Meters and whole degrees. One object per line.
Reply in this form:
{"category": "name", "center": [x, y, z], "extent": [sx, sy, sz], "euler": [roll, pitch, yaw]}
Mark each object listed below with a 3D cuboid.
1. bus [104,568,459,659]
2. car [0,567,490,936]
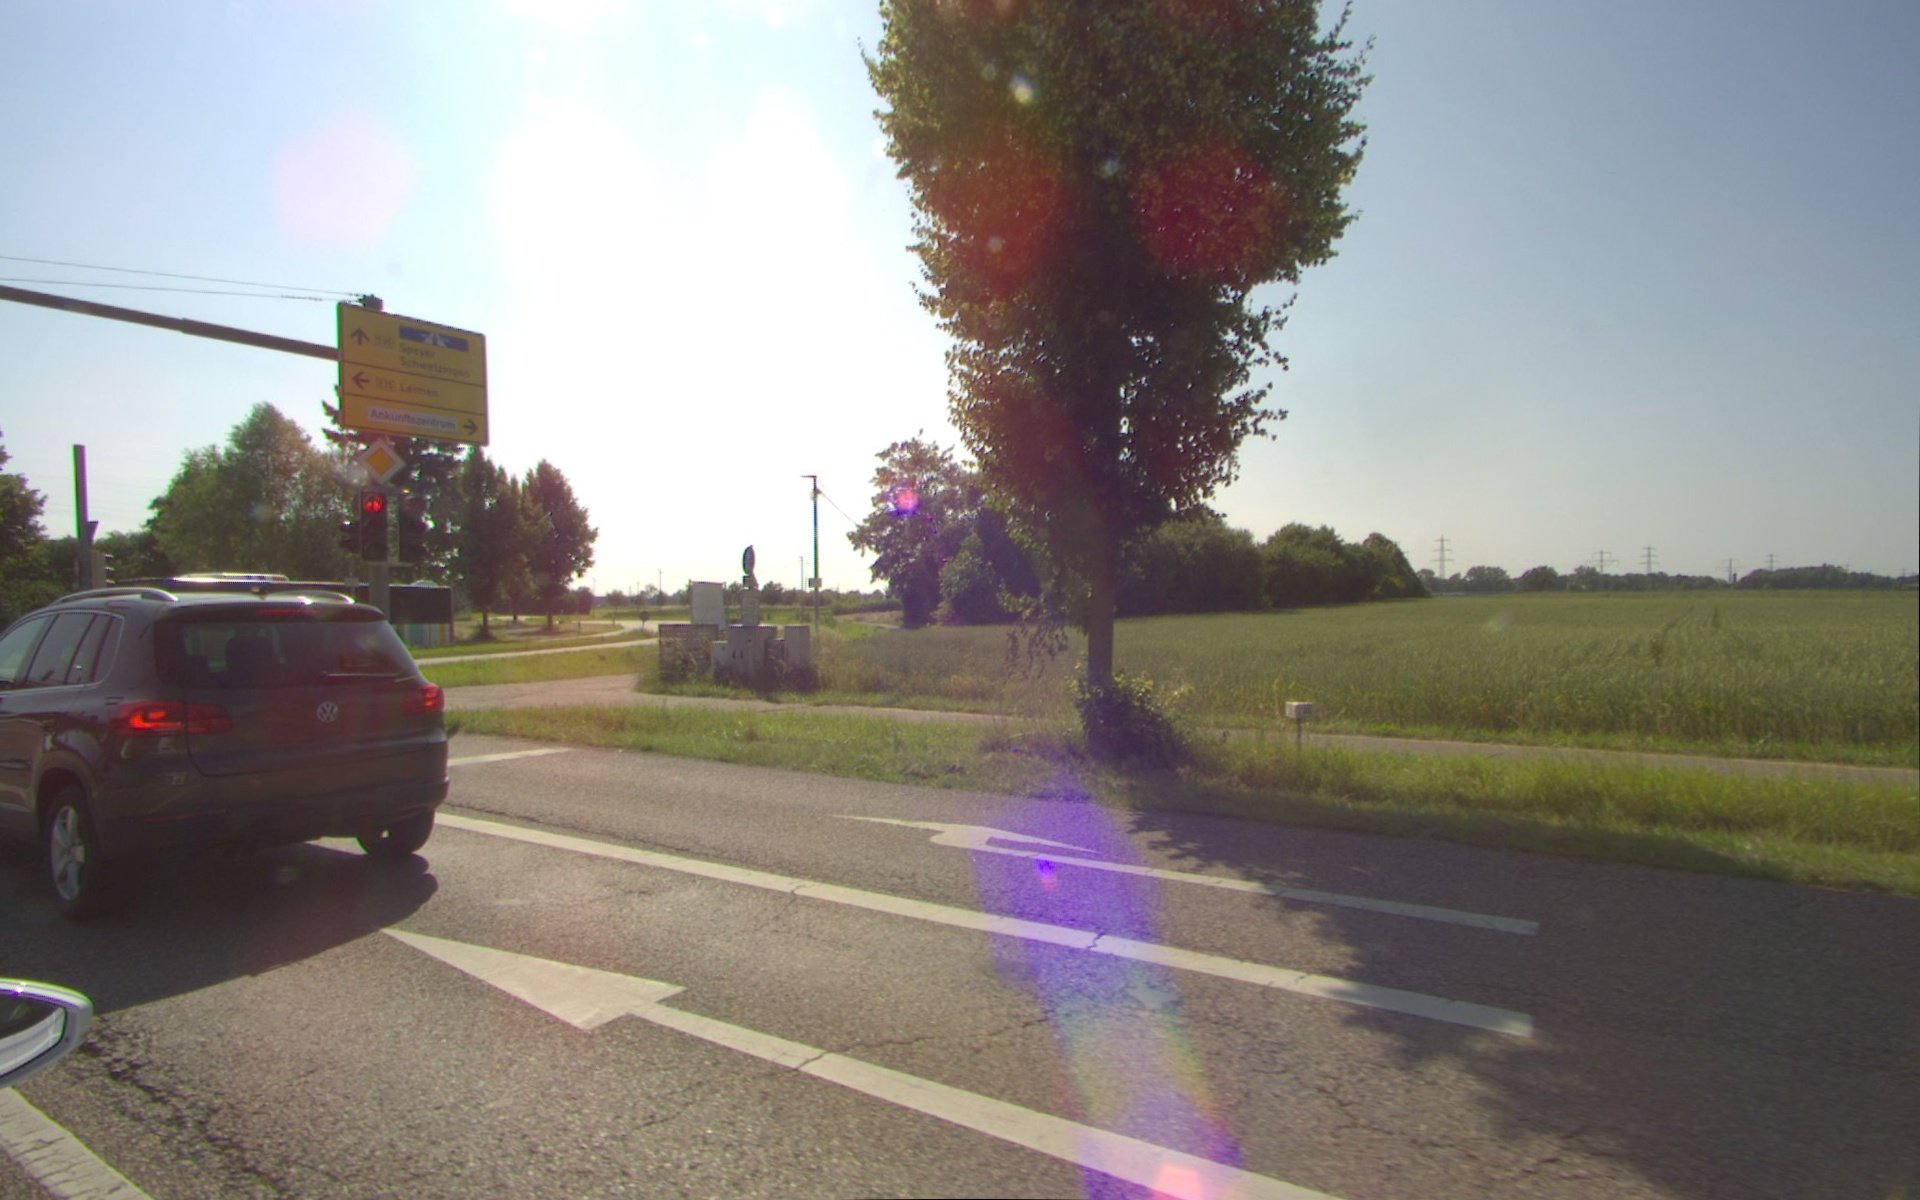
{"category": "bus", "center": [-24.833, 0.400, 38.038], "extent": [2.889, 2.915, 11.956], "euler": [-1, 0, 17]}
{"category": "car", "center": [-5.034, 0.737, 6.387], "extent": [4.086, 1.676, 1.753], "euler": [-1, -2, 32]}
